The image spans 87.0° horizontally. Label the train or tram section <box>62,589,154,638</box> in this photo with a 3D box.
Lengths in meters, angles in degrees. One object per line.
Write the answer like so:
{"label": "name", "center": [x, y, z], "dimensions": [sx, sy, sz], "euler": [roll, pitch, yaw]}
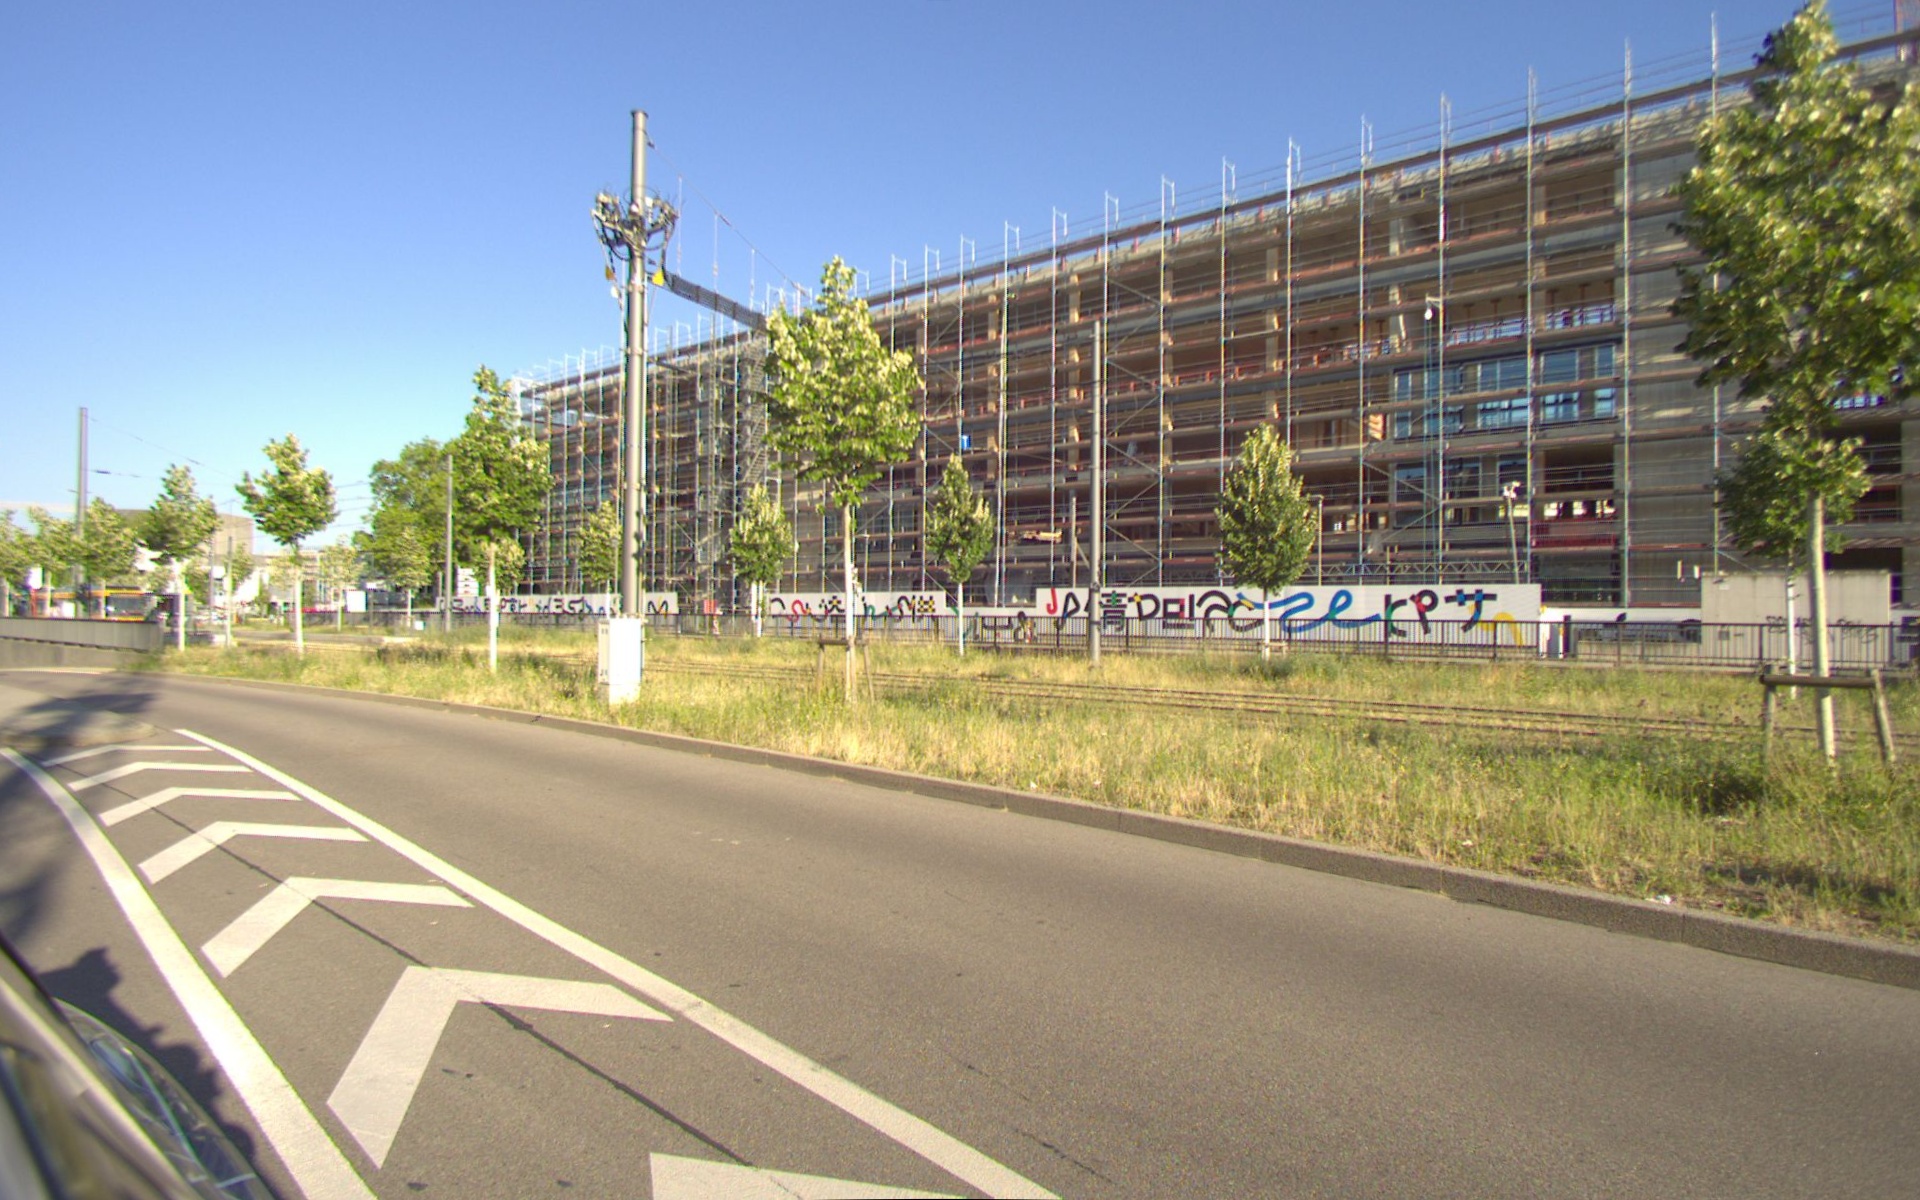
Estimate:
{"label": "train or tram section", "center": [-63.426, 0.938, 75.220], "dimensions": [12.620, 3.423, 2.917], "euler": [0, 0, 39]}
